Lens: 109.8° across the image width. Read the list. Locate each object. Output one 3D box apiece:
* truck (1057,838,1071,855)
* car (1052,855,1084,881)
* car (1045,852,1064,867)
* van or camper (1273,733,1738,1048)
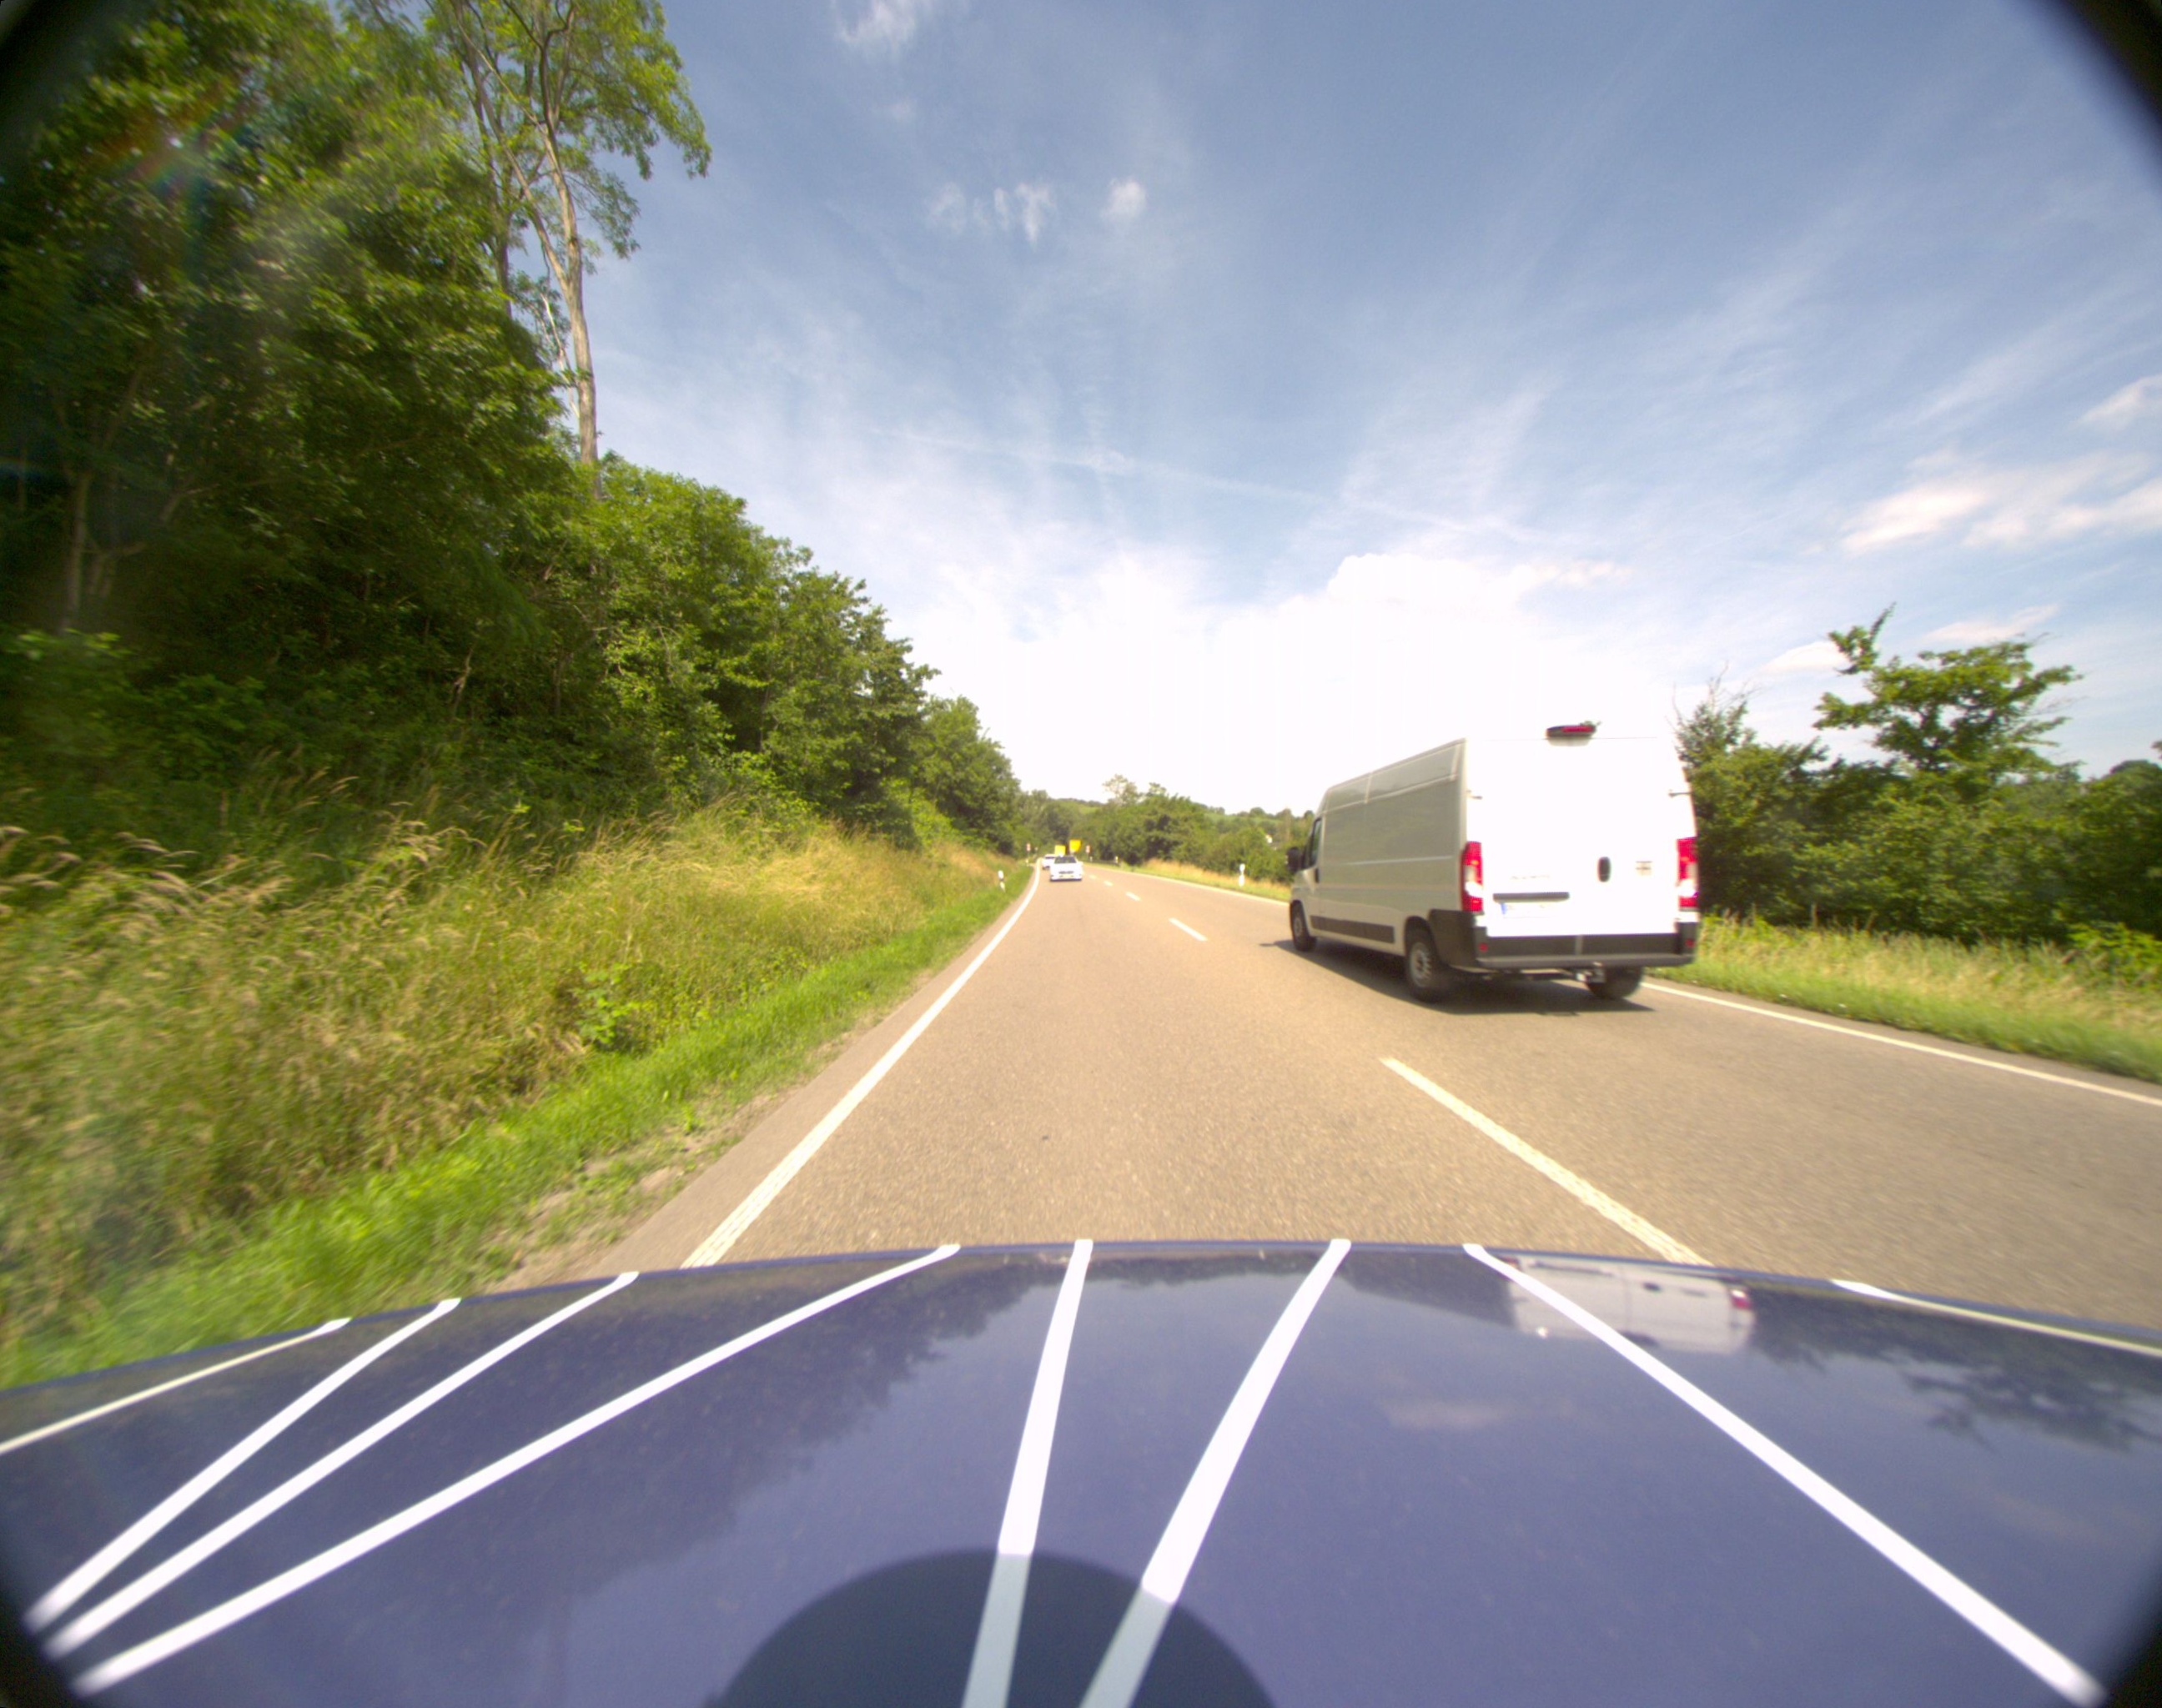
[{"bbox_3d":[-4.611,-1.984,206.106,3.339,4.503,8.574,2,0,-4],"label":"truck"},{"bbox_3d":[-0.792,0.791,44.936,1.773,1.437,4.000,-2,0,-1],"label":"car"},{"bbox_3d":[-2.688,0.528,77.335,1.866,1.480,3.999,-2,0,-2],"label":"car"},{"bbox_3d":[4.230,0.276,9.235,2.214,2.513,6.133,-1,0,0],"label":"van or camper"}]
